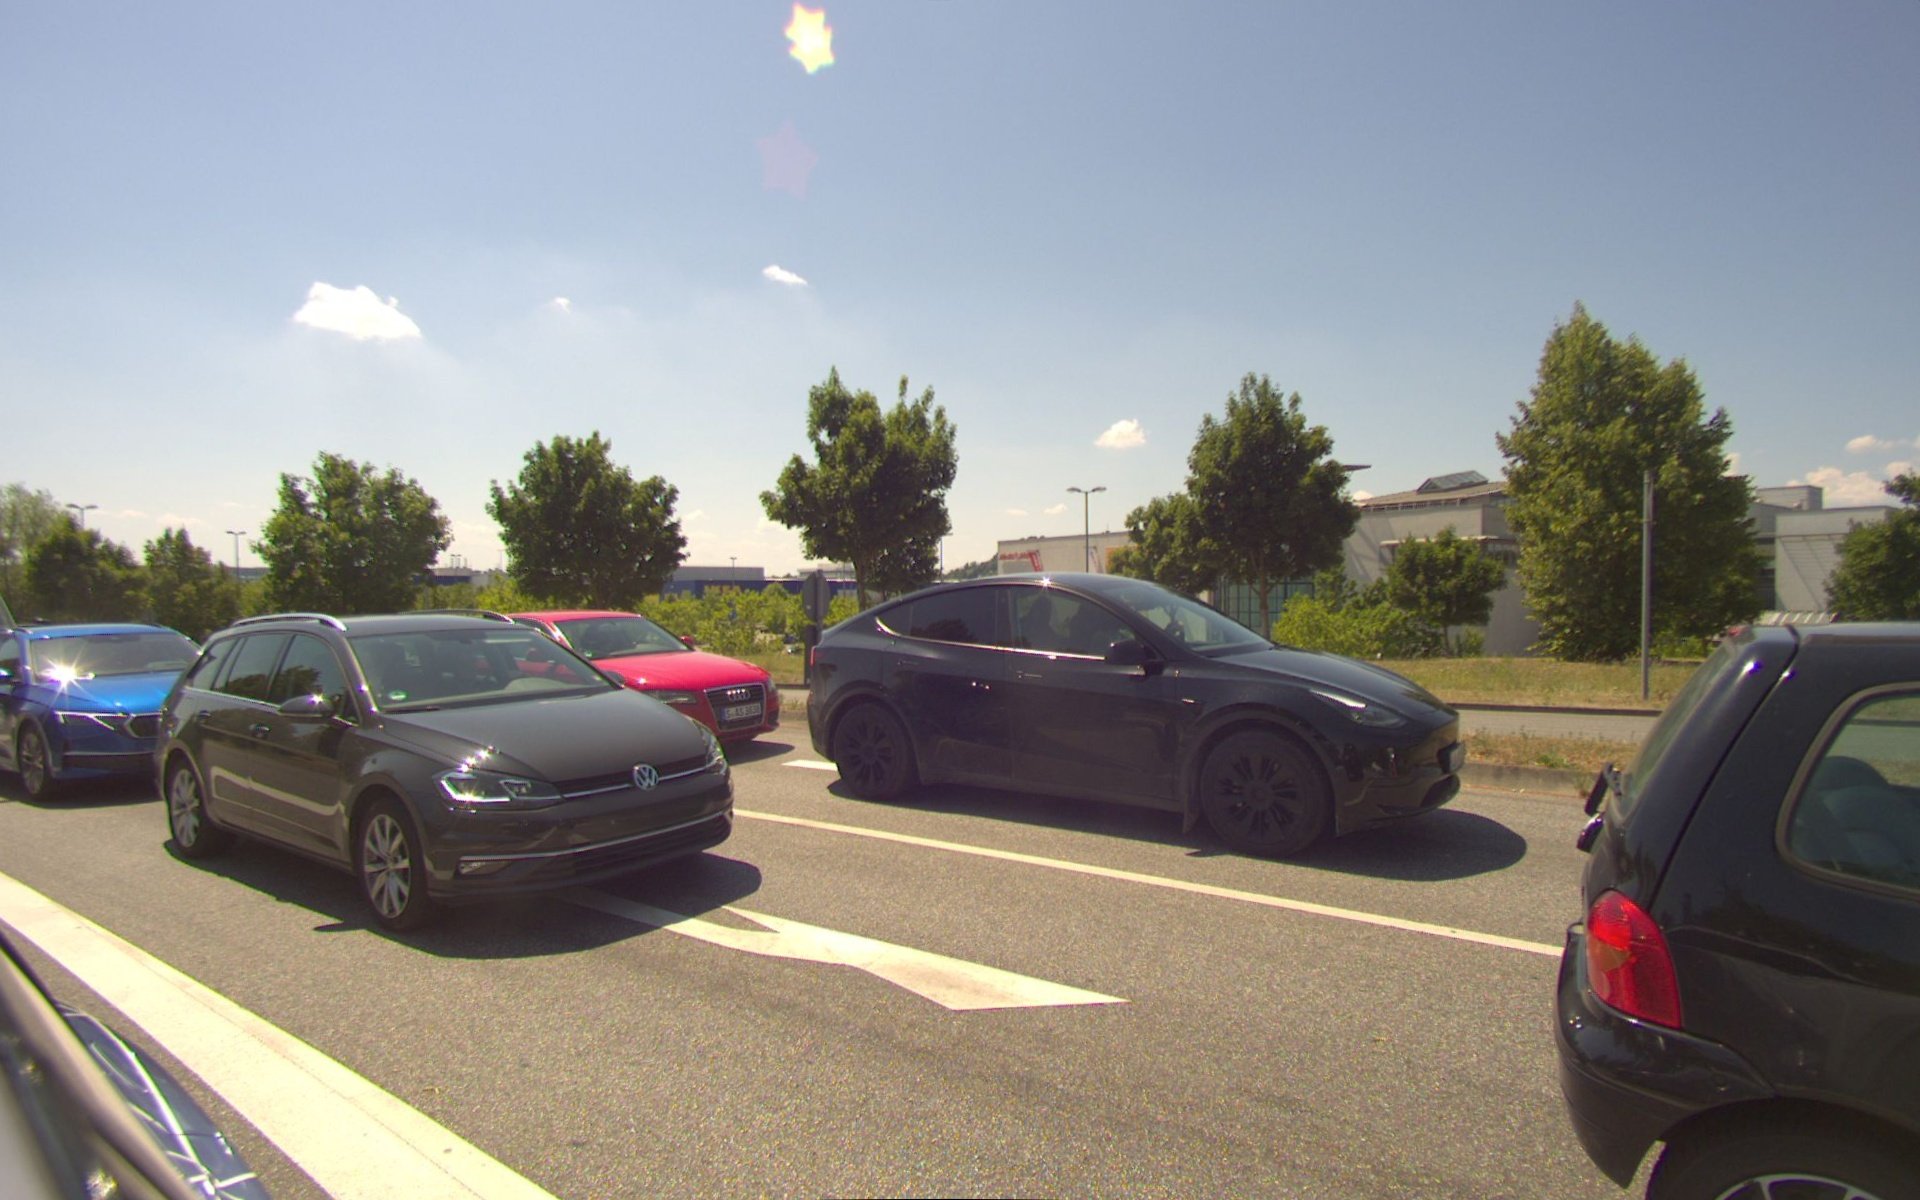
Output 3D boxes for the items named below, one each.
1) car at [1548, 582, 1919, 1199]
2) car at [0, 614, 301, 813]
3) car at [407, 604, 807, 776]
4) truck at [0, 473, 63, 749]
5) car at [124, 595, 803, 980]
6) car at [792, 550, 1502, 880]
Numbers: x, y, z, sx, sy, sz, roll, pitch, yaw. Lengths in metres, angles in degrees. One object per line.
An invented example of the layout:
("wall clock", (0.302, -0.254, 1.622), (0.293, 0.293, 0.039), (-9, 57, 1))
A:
("car", (2.878, 0.669, 1.512), (3.295, 1.418, 1.604), (-1, -1, 37))
("car", (-8.327, 0.949, 9.627), (4.474, 1.473, 1.695), (-2, 0, 32))
("car", (-3.774, 0.784, 10.470), (4.440, 1.399, 1.646), (-1, 1, 36))
("truck", (-15.116, 0.284, 13.705), (7.176, 3.373, 2.390), (-3, -1, 31))
("car", (-3.135, 0.766, 5.980), (4.420, 1.493, 1.762), (-1, 0, 36))
("car", (1.102, 0.582, 7.031), (4.496, 1.613, 1.859), (-1, 0, 36))
